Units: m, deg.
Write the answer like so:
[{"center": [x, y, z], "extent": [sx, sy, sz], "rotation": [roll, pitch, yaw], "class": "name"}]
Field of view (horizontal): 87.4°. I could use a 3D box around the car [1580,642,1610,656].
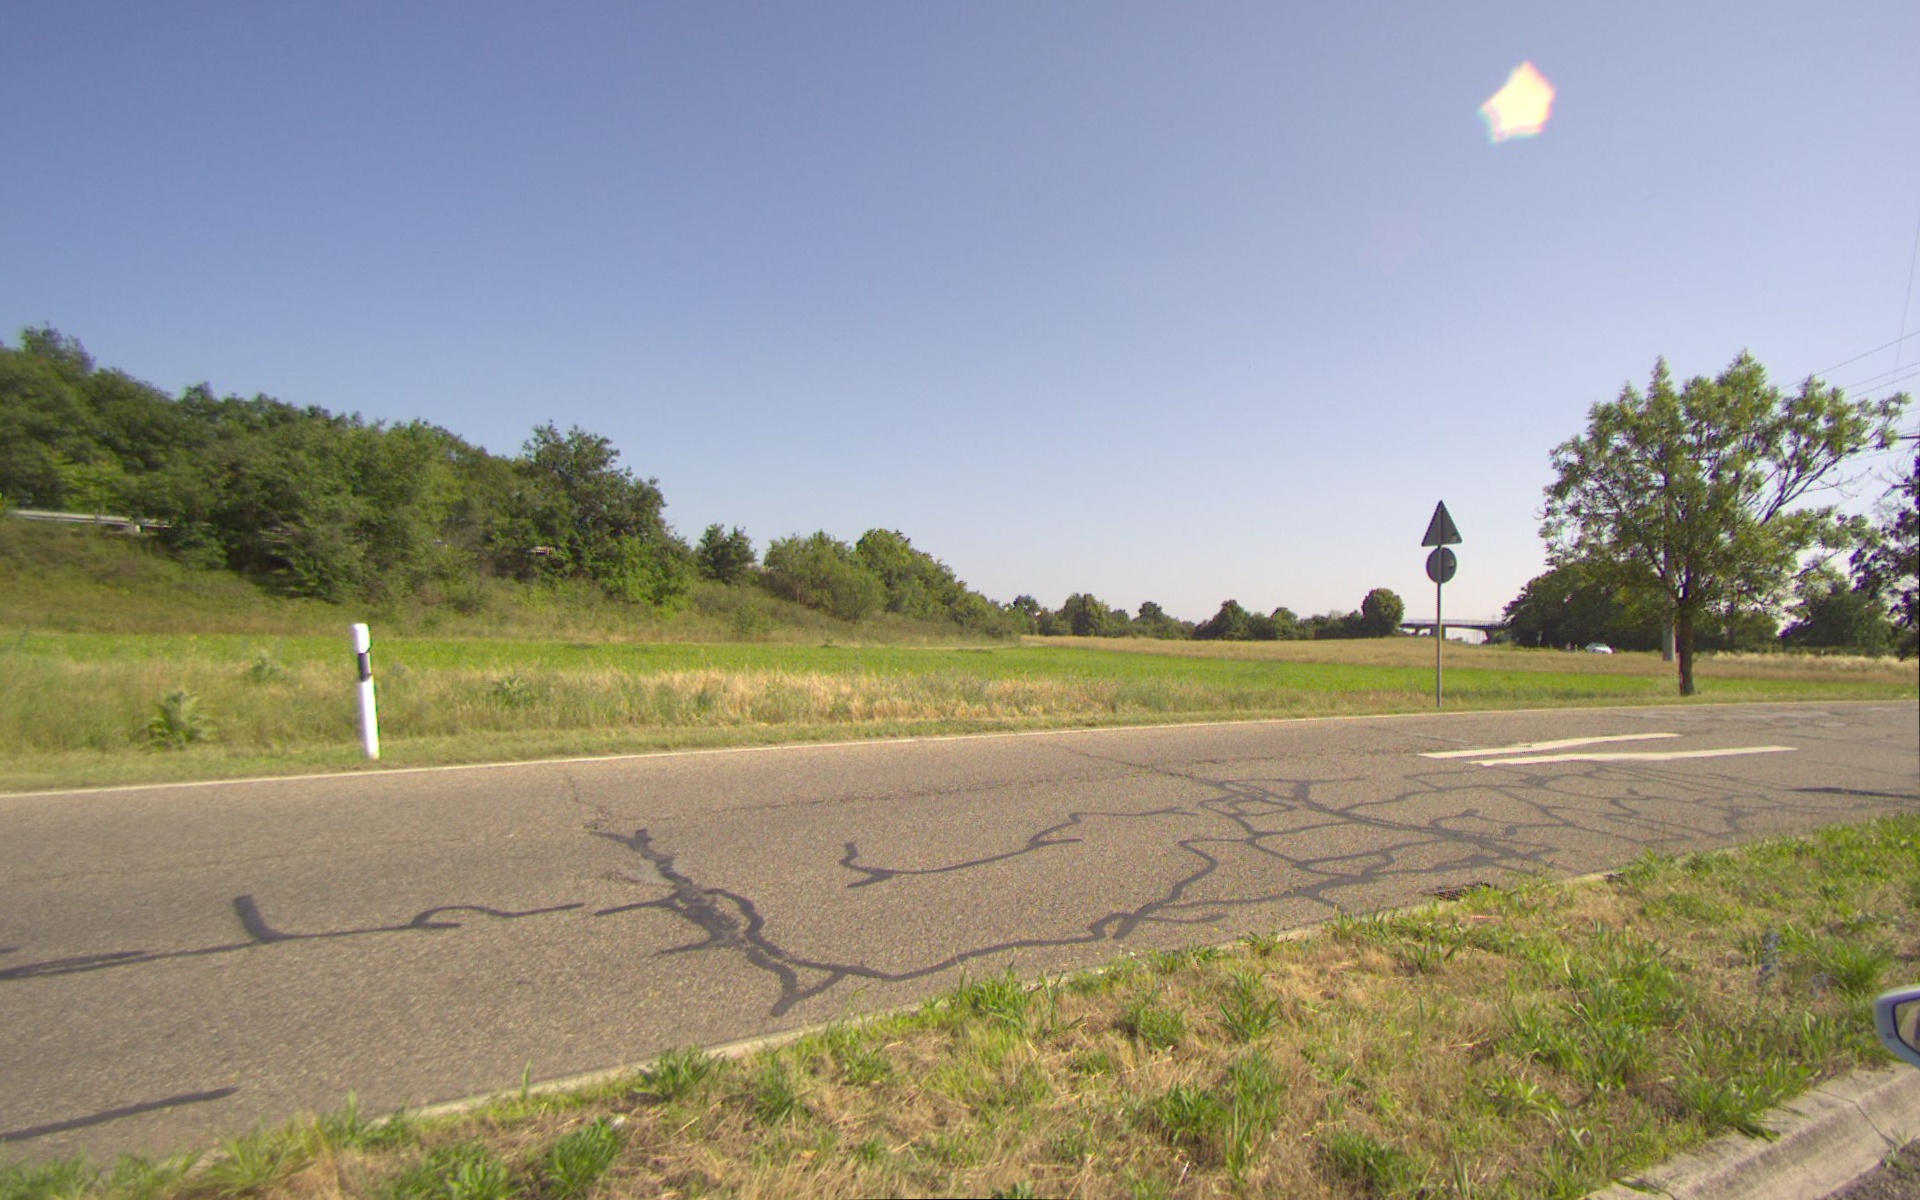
[{"center": [84.079, 6.420, 133.036], "extent": [1.783, 1.673, 4.764], "rotation": [2, -1, 12], "class": "car"}]
